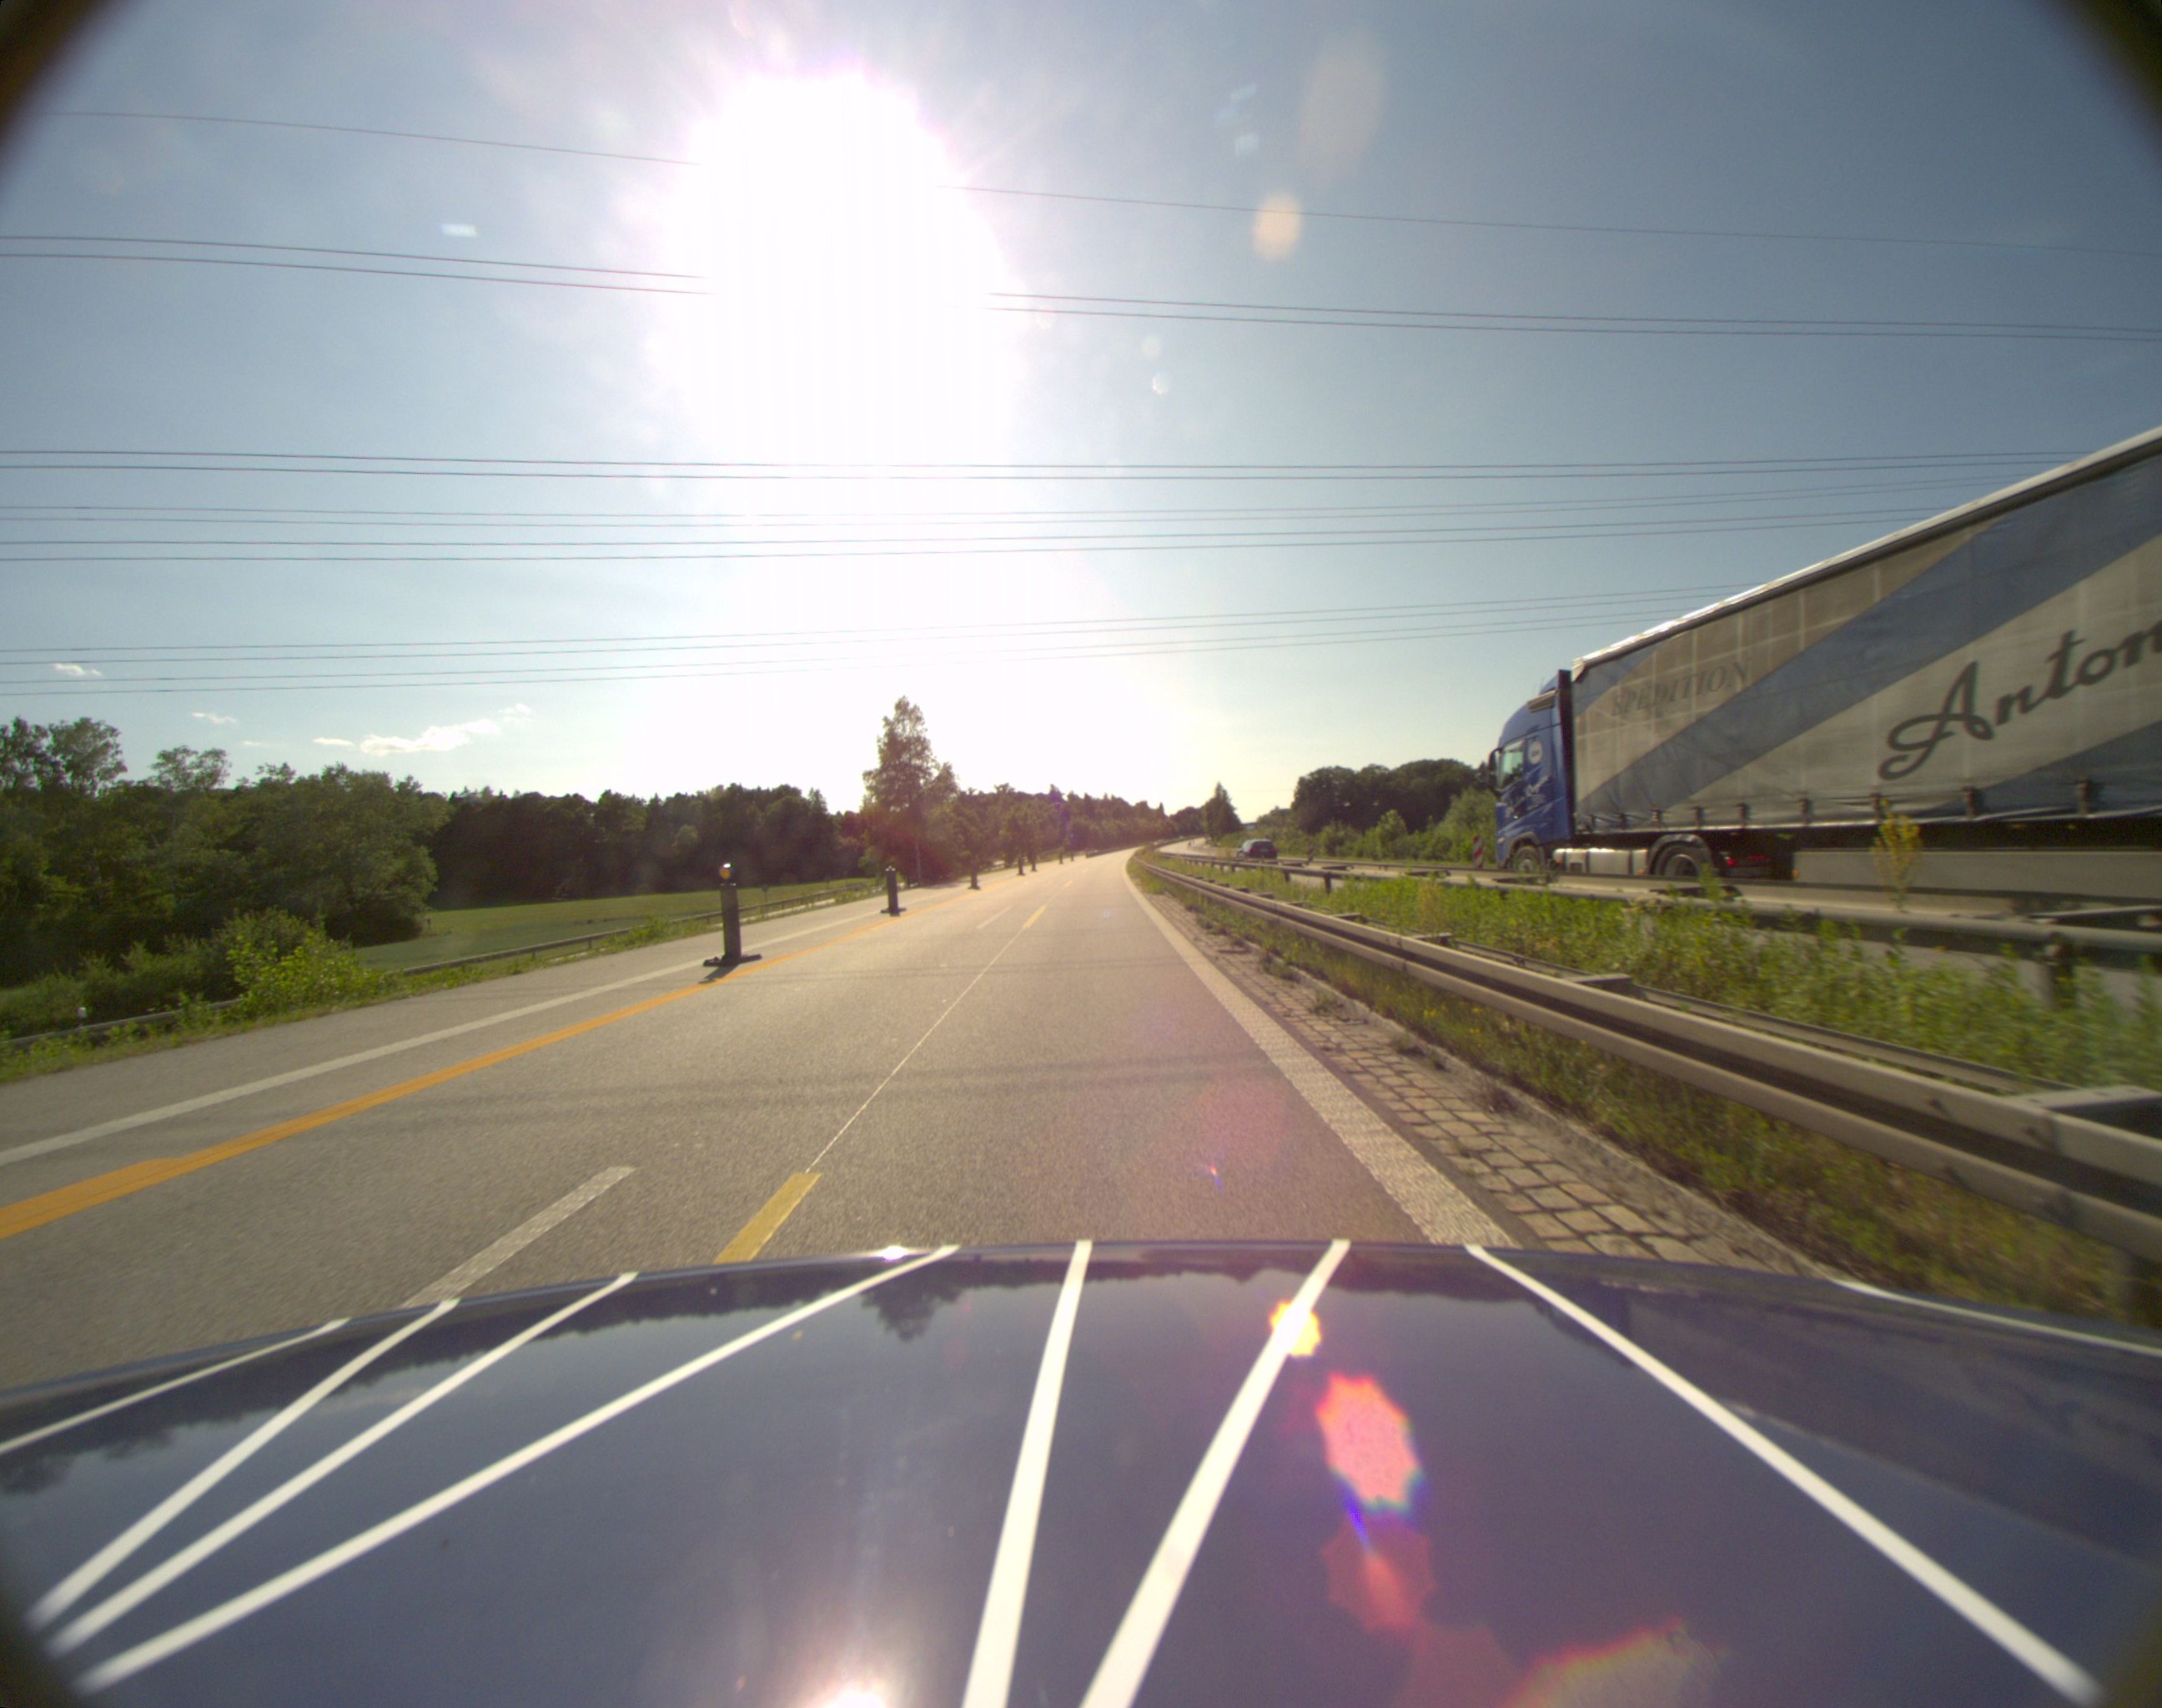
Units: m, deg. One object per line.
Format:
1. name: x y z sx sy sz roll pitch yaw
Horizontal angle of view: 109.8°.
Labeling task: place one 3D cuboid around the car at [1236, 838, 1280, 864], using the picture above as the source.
1. car: 10.658 -0.195 46.077 1.781 1.421 4.269 -2 1 1

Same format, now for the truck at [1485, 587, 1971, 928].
1. truck: 9.259 -1.171 11.964 2.639 3.937 5.842 -3 1 1

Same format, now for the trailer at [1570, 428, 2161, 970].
1. trailer: 9.223 -1.166 5.245 2.686 3.931 13.768 -2 0 0
